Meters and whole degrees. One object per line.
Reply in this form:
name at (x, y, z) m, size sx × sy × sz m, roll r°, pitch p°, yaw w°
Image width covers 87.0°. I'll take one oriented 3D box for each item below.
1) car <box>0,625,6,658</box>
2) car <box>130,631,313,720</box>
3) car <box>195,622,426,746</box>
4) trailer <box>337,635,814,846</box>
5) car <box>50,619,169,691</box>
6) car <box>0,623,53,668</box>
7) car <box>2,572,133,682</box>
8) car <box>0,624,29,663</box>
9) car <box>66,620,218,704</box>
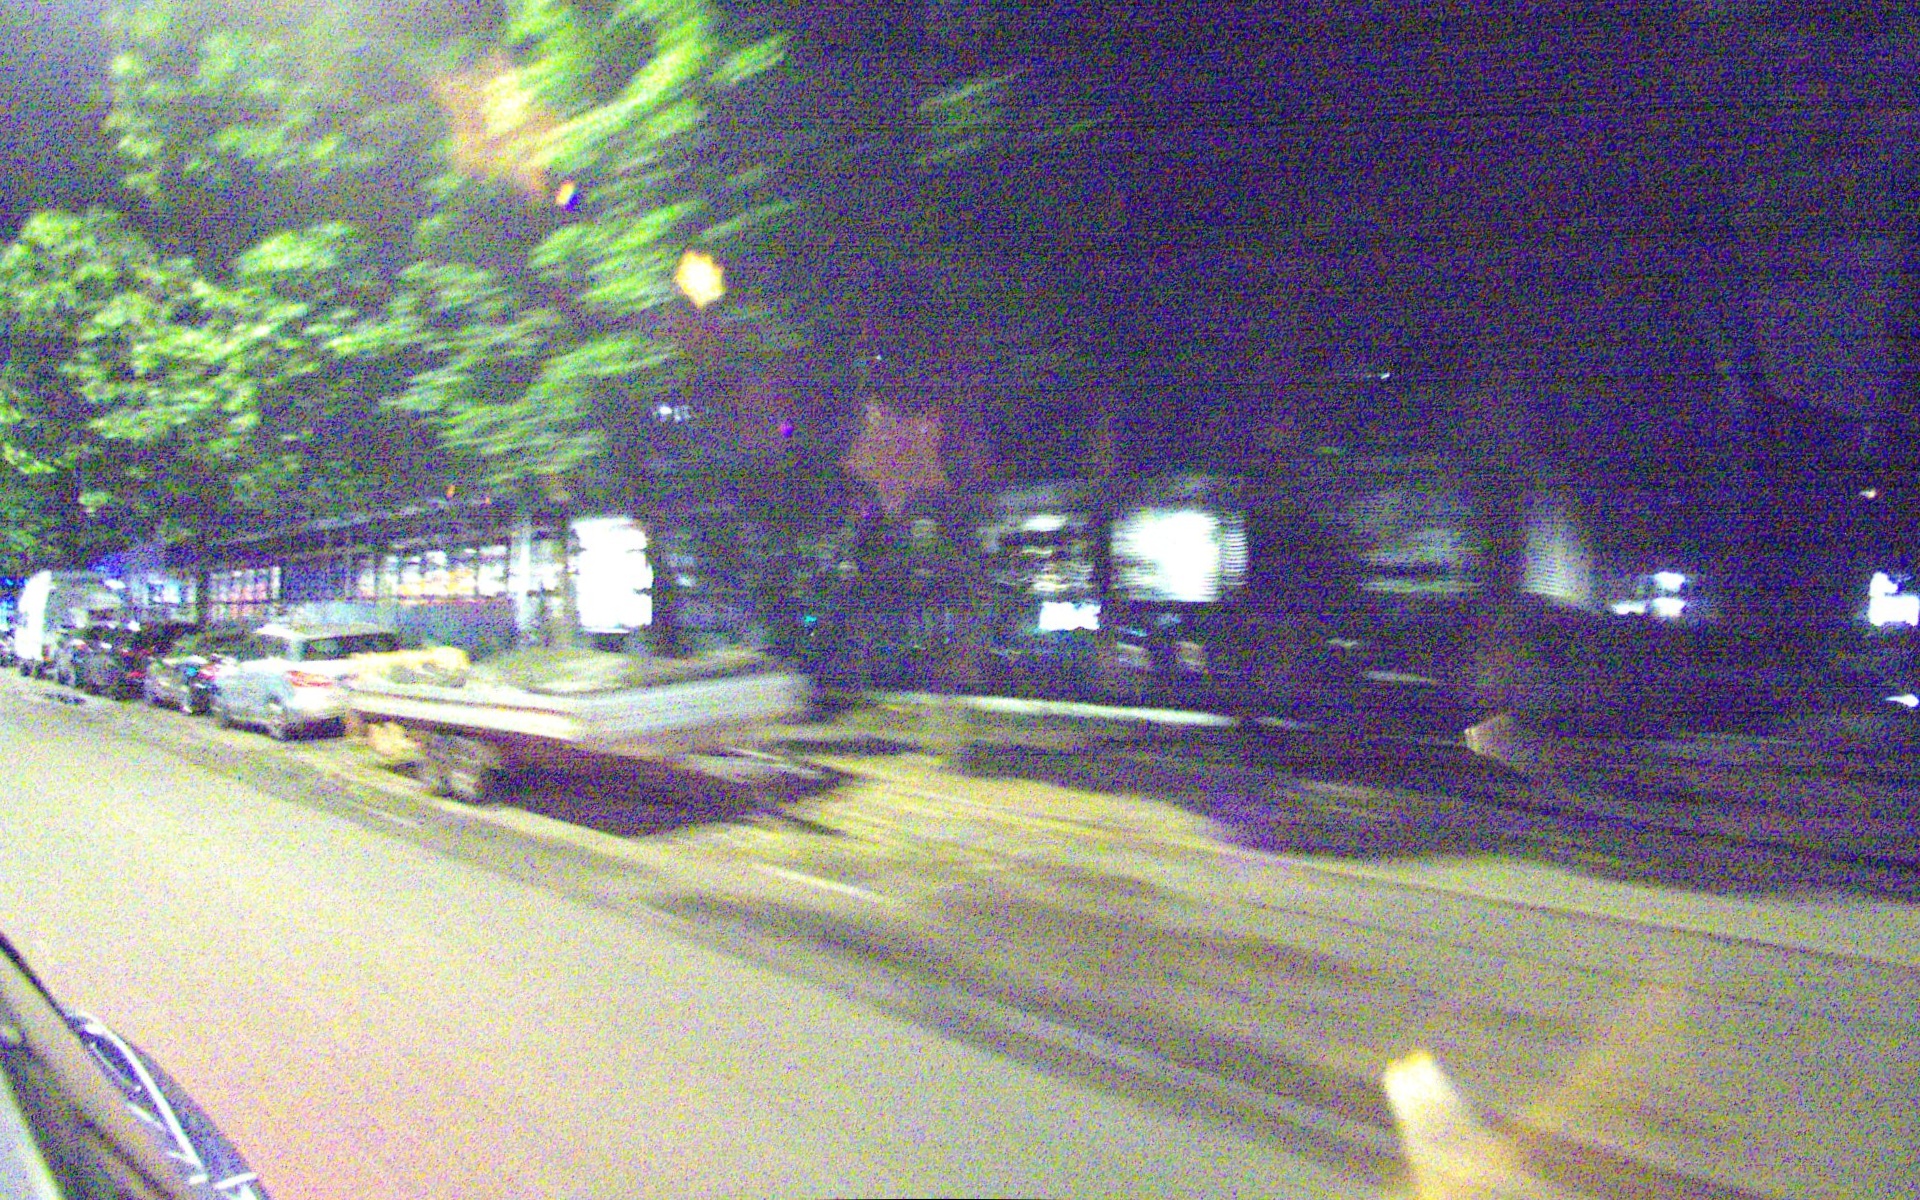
car at (-43.203, 1.838, 44.486) m, size 3.901 × 1.440 × 1.430 m, roll -1°, pitch 0°, yaw 40°
car at (-13.625, 1.299, 18.566) m, size 4.630 × 1.422 × 1.687 m, roll -1°, pitch -2°, yaw 41°
car at (-9.670, 1.126, 14.941) m, size 4.202 × 1.513 × 1.699 m, roll -1°, pitch 1°, yaw 40°
trailer at (-3.973, 1.089, 9.801) m, size 5.434 × 1.345 × 2.088 m, roll -1°, pitch 1°, yaw 42°
car at (-21.223, 1.312, 25.207) m, size 4.114 × 1.619 × 1.723 m, roll -2°, pitch -1°, yaw 42°
car at (-33.866, 1.622, 36.268) m, size 3.860 × 1.516 × 1.628 m, roll -2°, pitch -1°, yaw 42°
car at (-25.878, 0.752, 29.296) m, size 4.906 × 2.931 × 2.157 m, roll -1°, pitch -1°, yaw 40°
car at (-38.434, 1.734, 40.338) m, size 3.366 × 1.466 × 1.532 m, roll -1°, pitch 0°, yaw 40°
car at (-17.714, 1.255, 21.848) m, size 4.294 × 1.619 × 1.725 m, roll -1°, pitch -1°, yaw 39°
